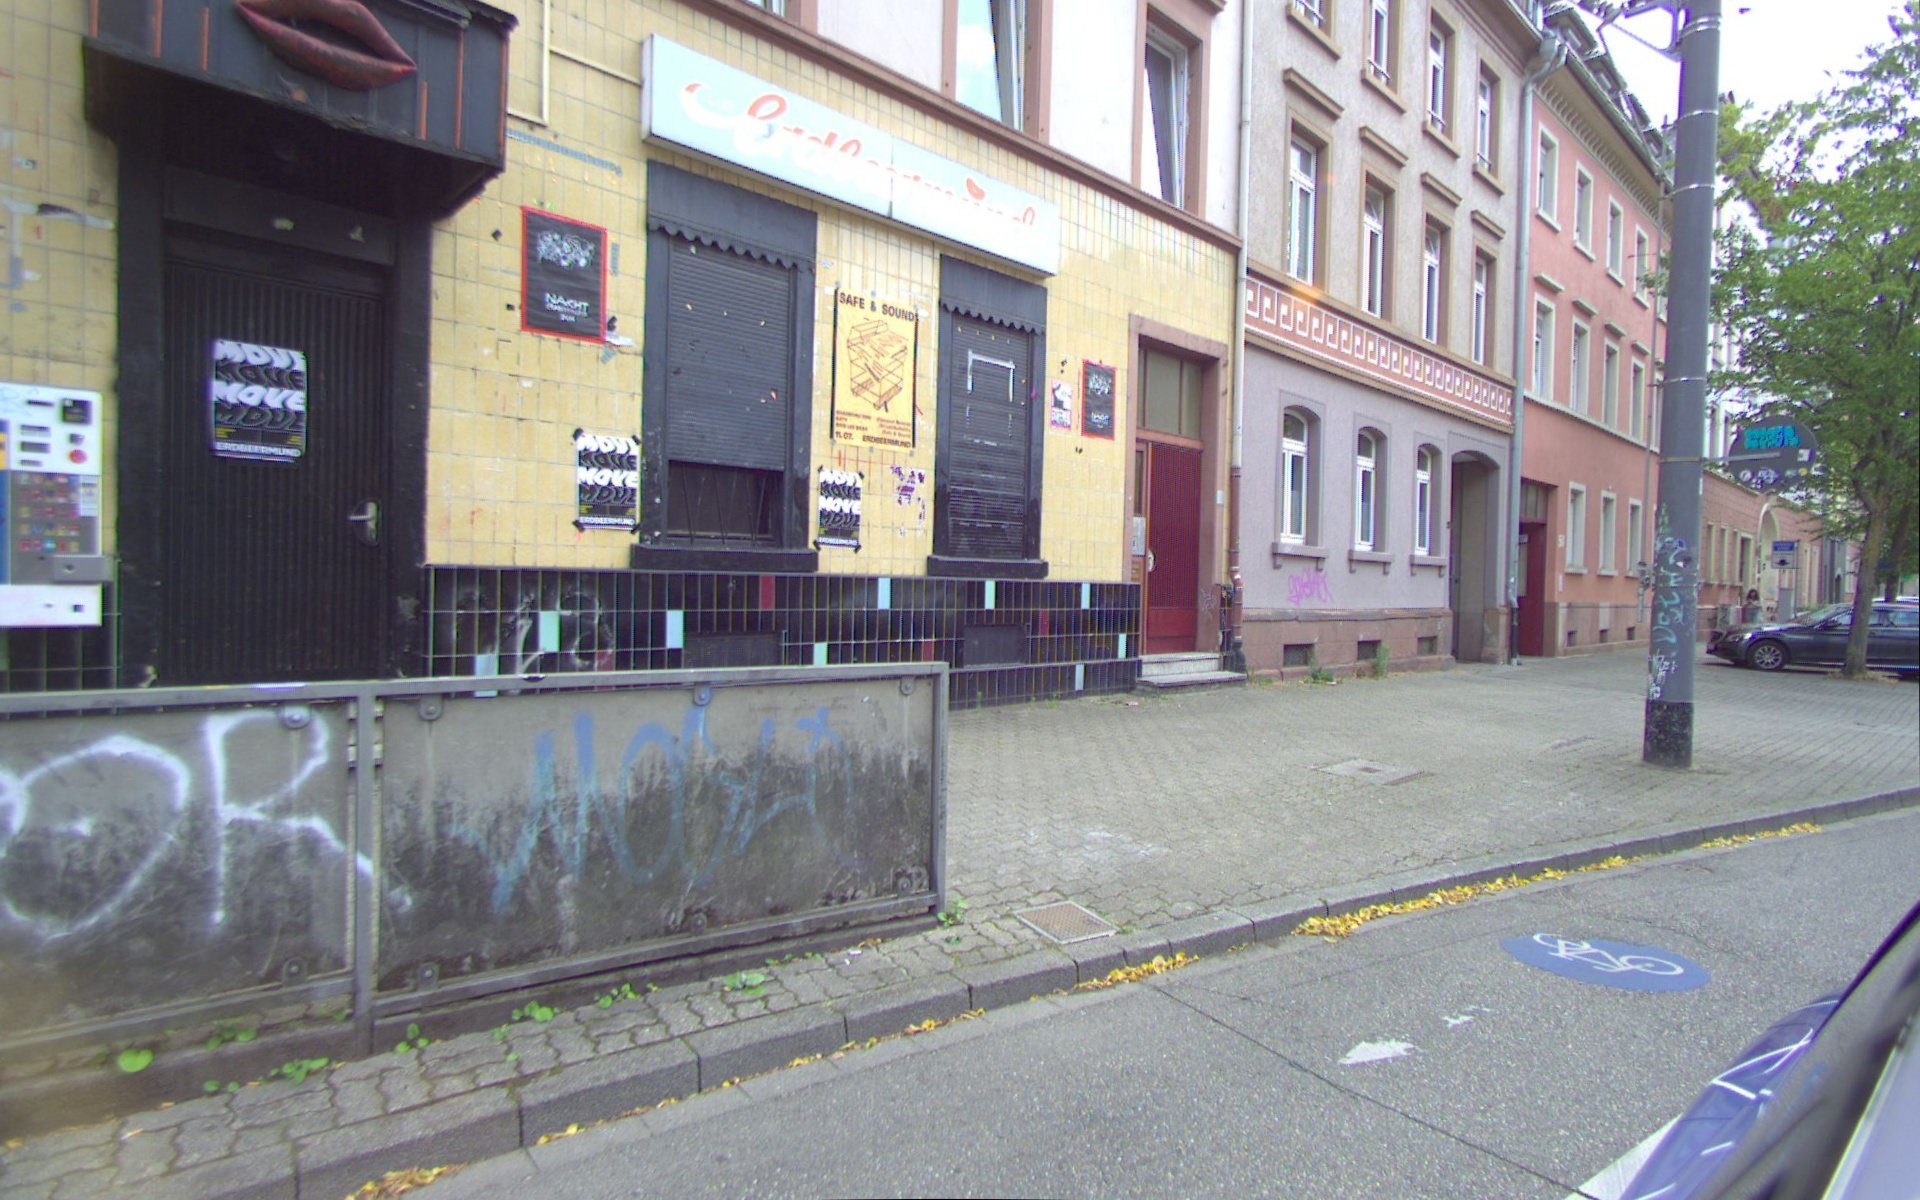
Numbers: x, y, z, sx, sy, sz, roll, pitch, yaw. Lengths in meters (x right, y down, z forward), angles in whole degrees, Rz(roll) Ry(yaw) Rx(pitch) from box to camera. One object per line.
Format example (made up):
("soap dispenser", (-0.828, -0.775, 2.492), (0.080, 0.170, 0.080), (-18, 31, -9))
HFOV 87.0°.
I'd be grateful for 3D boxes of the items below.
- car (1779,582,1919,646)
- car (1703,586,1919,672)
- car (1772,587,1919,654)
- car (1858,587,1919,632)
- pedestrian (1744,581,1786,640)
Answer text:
("car", (27.683, 0.425, 30.554), (4.196, 1.719, 1.725), (3, 2, 25))
("car", (18.022, 0.581, 20.366), (4.581, 1.491, 1.774), (3, 2, 25))
("car", (23.132, 0.521, 25.086), (4.301, 1.498, 1.774), (3, 2, 25))
("car", (39.222, 0.450, 40.386), (4.581, 1.719, 1.901), (3, 2, 25))
("pedestrian", (24.575, 0.306, 30.884), (0.910, 1.708, 0.732), (1, 4, -42))
